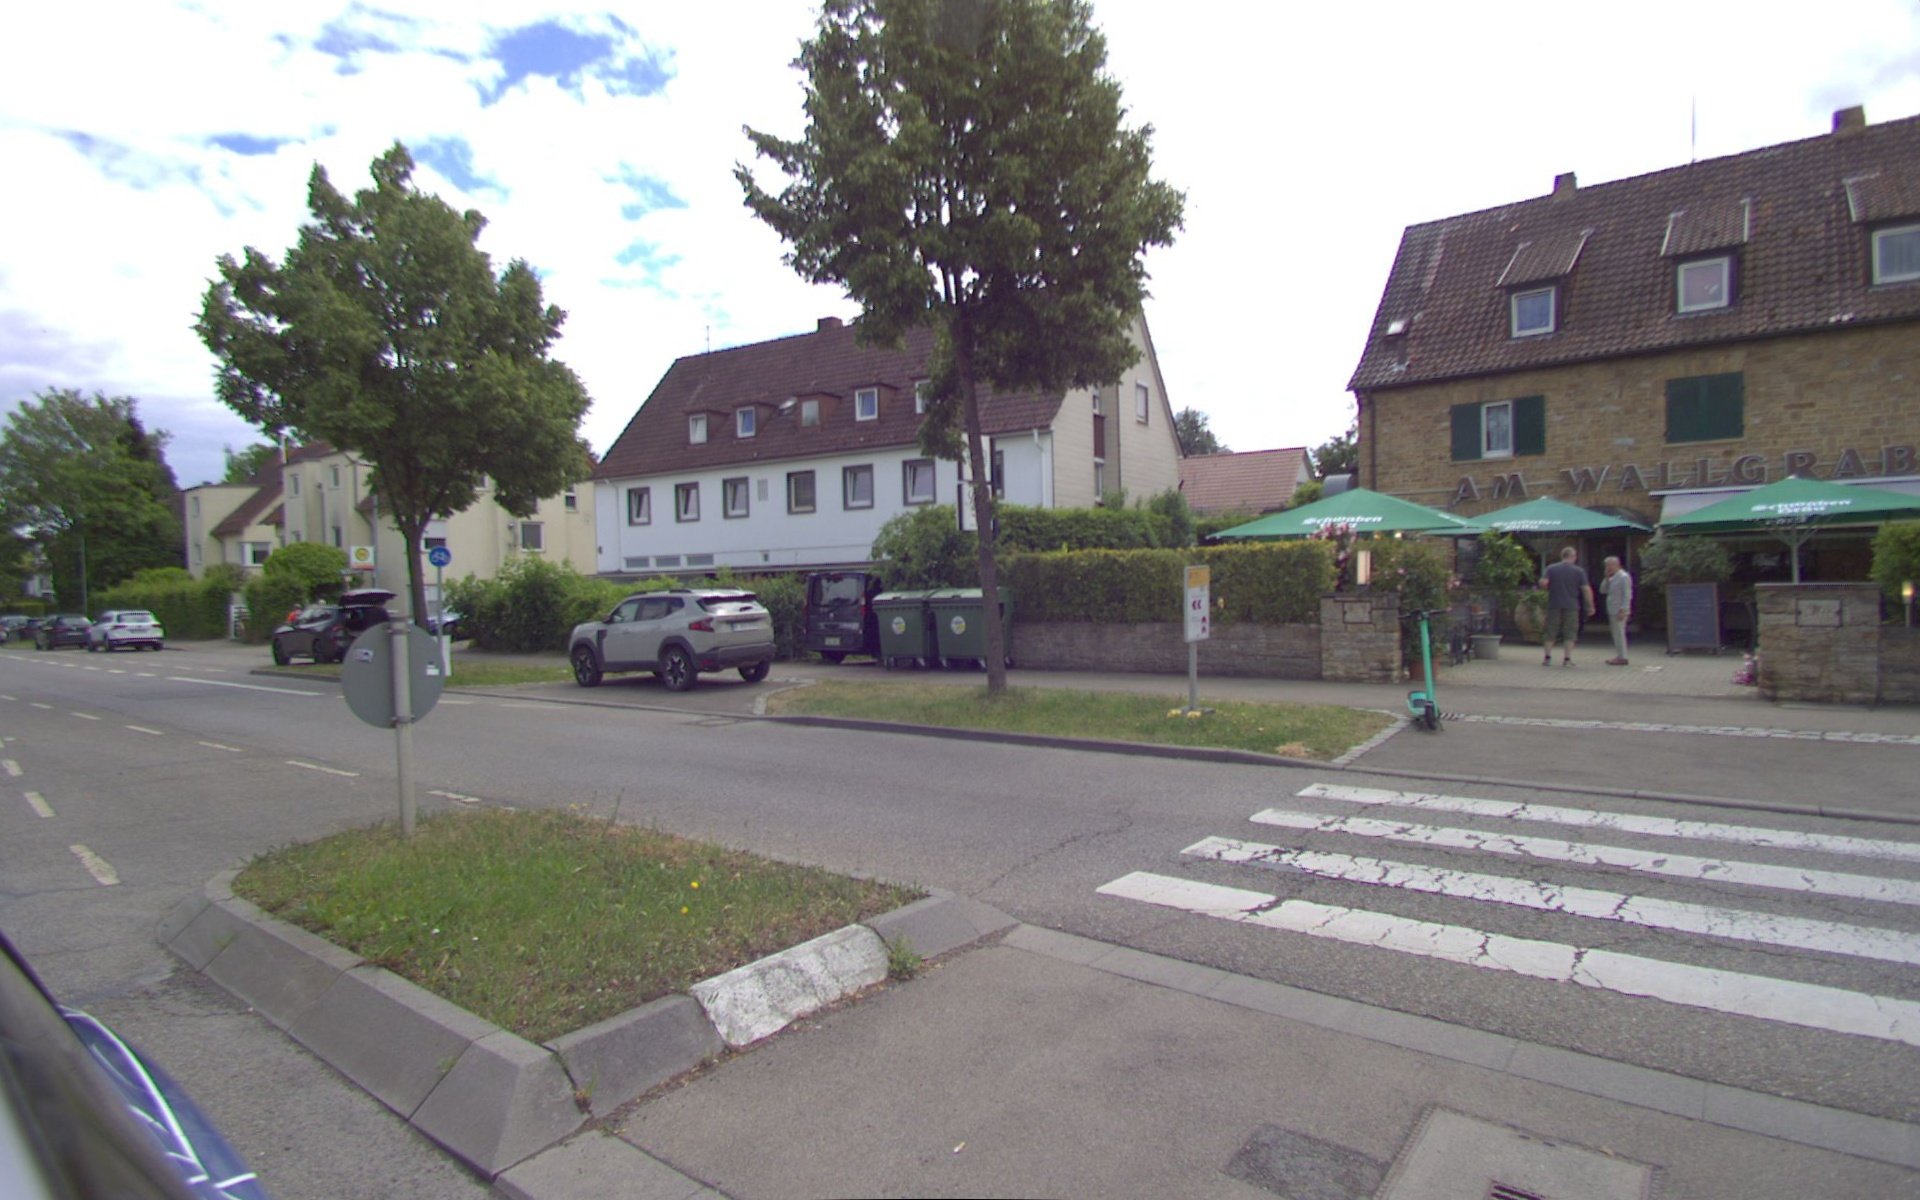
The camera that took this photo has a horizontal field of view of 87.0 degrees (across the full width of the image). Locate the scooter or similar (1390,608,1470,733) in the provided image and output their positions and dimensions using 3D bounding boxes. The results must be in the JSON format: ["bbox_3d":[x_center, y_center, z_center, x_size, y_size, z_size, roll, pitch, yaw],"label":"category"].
[{"bbox_3d":[4.676,0.666,10.126,0.343,1.147,1.285,-1,0,8],"label":"scooter or similar"}]

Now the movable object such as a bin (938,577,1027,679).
[{"bbox_3d":[0.403,0.473,17.764,0.996,1.663,1.194,-1,3,37],"label":"movable object such as a bin"}]

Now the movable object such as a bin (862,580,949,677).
[{"bbox_3d":[-0.996,0.505,18.706,0.996,1.663,1.194,-1,3,37],"label":"movable object such as a bin"}]

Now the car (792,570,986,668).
[{"bbox_3d":[-1.451,0.339,21.884,1.998,1.906,3.947,-1,0,40],"label":"car"}]

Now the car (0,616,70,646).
[{"bbox_3d":[-49.563,1.626,54.191,4.883,1.496,1.975,-1,0,38],"label":"car"}]

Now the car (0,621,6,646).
[{"bbox_3d":[-64.756,2.239,66.671,5.032,1.659,2.075,-2,-1,39],"label":"car"}]

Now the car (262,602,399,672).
[{"bbox_3d":[-17.522,1.000,28.101,4.558,1.737,1.708,-1,1,38],"label":"car"}]

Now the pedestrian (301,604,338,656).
[{"bbox_3d":[-21.461,0.998,33.893,0.591,1.675,0.779,-1,4,38],"label":"pedestrian"}]

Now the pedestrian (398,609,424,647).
[{"bbox_3d":[-19.546,0.978,36.018,0.705,1.323,0.581,-2,0,41],"label":"pedestrian"}]

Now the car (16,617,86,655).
[{"bbox_3d":[-40.699,1.588,45.295,4.267,1.563,1.661,-1,0,39],"label":"car"}]

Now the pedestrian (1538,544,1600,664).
[{"bbox_3d":[9.374,0.057,15.578,0.747,1.797,0.565,-2,0,35],"label":"pedestrian"}]

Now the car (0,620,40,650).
[{"bbox_3d":[-53.985,1.984,57.746,3.907,1.625,1.701,-1,0,40],"label":"car"}]

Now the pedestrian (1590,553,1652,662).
[{"bbox_3d":[10.256,0.115,15.712,0.446,1.656,0.619,-2,0,-23],"label":"pedestrian"}]

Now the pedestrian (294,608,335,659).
[{"bbox_3d":[-22.361,1.146,35.056,0.879,1.675,0.781,-2,4,33],"label":"pedestrian"}]

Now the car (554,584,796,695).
[{"bbox_3d":[-5.030,0.640,17.613,4.288,1.666,1.843,-1,1,38],"label":"car"}]

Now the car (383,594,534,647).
[{"bbox_3d":[-17.535,0.684,35.635,2.023,1.565,4.493,-2,2,23],"label":"car"}]

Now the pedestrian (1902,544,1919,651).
[{"bbox_3d":[16.390,-0.049,17.064,0.633,1.797,0.574,-2,0,-32],"label":"pedestrian"}]

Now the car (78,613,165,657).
[{"bbox_3d":[-34.546,1.421,41.668,4.579,1.646,1.803,-1,0,38],"label":"car"}]

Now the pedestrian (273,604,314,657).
[{"bbox_3d":[-22.483,1.029,34.134,0.752,1.675,0.781,-2,4,33],"label":"pedestrian"}]

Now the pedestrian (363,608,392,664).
[{"bbox_3d":[-15.360,0.935,26.712,0.545,1.447,0.497,-2,0,-19],"label":"pedestrian"}]
